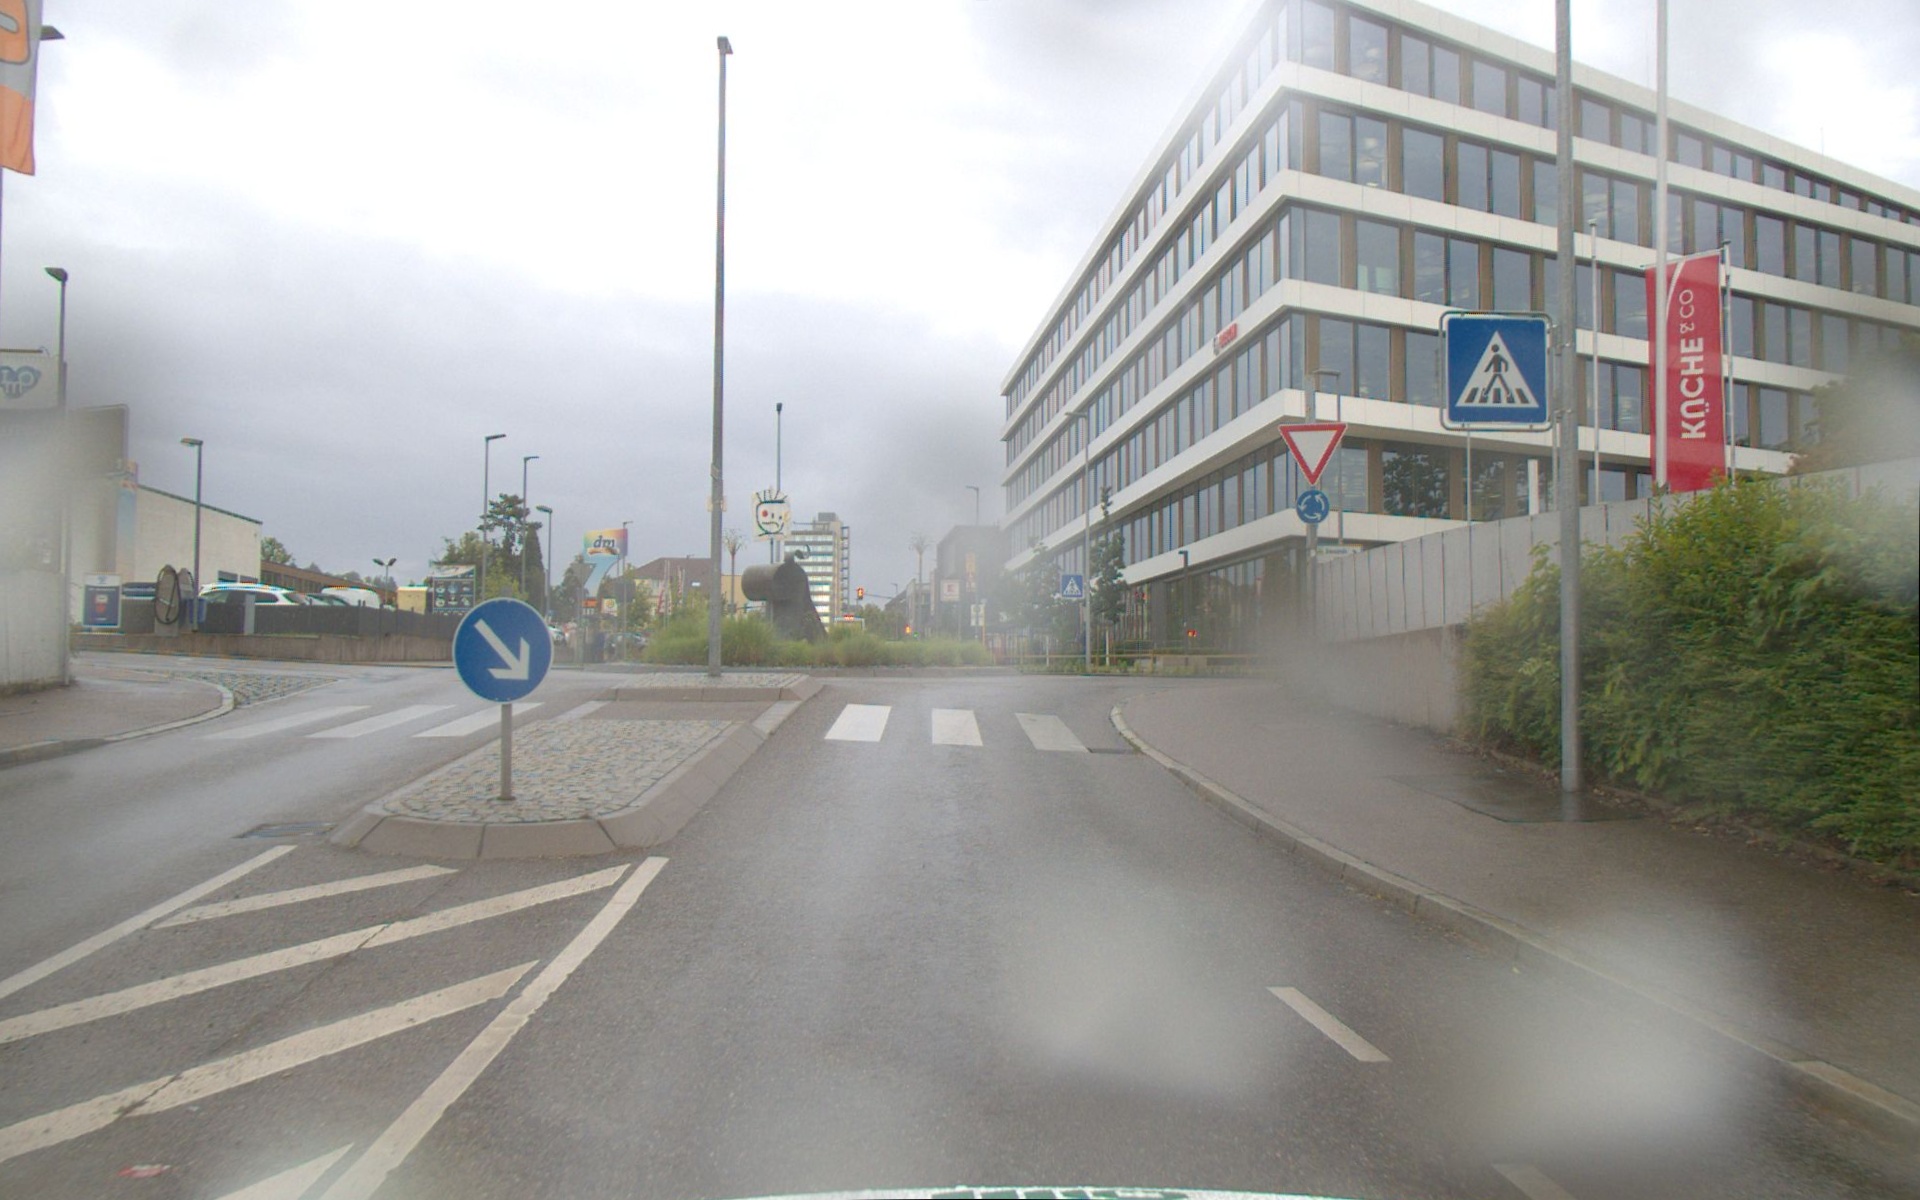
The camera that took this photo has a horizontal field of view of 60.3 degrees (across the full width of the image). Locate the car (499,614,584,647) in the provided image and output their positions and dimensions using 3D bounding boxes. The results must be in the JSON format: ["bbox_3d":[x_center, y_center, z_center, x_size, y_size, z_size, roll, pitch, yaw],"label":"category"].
[{"bbox_3d":[-21.486,1.566,85.107,3.944,1.445,1.766,3,-3,-6],"label":"car"}]

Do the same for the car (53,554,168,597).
[{"bbox_3d":[-31.509,-0.886,61.432,3.462,1.445,1.427,2,0,-6],"label":"car"}]

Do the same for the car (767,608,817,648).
[{"bbox_3d":[-6.611,1.069,65.266,1.562,1.434,3.500,2,0,0],"label":"car"}]

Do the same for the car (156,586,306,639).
[{"bbox_3d":[-21.256,0.391,48.338,3.462,1.308,1.997,3,-3,-6],"label":"car"}]

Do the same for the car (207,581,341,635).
[{"bbox_3d":[-21.094,0.250,50.928,3.462,1.445,1.427,3,-3,-6],"label":"car"}]

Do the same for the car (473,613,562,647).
[{"bbox_3d":[-21.585,1.484,80.798,3.947,1.445,1.764,3,-3,-9],"label":"car"}]

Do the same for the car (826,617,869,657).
[{"bbox_3d":[-5.977,2.003,88.000,1.953,1.937,3.999,2,-3,0],"label":"car"}]

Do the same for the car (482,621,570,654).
[{"bbox_3d":[-21.733,1.890,82.984,3.944,1.445,1.766,3,-3,-6],"label":"car"}]

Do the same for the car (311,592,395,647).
[{"bbox_3d":[-24.188,0.756,66.080,1.955,2.049,4.993,2,0,-6],"label":"car"}]

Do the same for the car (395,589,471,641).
[{"bbox_3d":[-22.183,0.602,69.855,1.955,2.049,4.994,2,0,-5],"label":"car"}]
